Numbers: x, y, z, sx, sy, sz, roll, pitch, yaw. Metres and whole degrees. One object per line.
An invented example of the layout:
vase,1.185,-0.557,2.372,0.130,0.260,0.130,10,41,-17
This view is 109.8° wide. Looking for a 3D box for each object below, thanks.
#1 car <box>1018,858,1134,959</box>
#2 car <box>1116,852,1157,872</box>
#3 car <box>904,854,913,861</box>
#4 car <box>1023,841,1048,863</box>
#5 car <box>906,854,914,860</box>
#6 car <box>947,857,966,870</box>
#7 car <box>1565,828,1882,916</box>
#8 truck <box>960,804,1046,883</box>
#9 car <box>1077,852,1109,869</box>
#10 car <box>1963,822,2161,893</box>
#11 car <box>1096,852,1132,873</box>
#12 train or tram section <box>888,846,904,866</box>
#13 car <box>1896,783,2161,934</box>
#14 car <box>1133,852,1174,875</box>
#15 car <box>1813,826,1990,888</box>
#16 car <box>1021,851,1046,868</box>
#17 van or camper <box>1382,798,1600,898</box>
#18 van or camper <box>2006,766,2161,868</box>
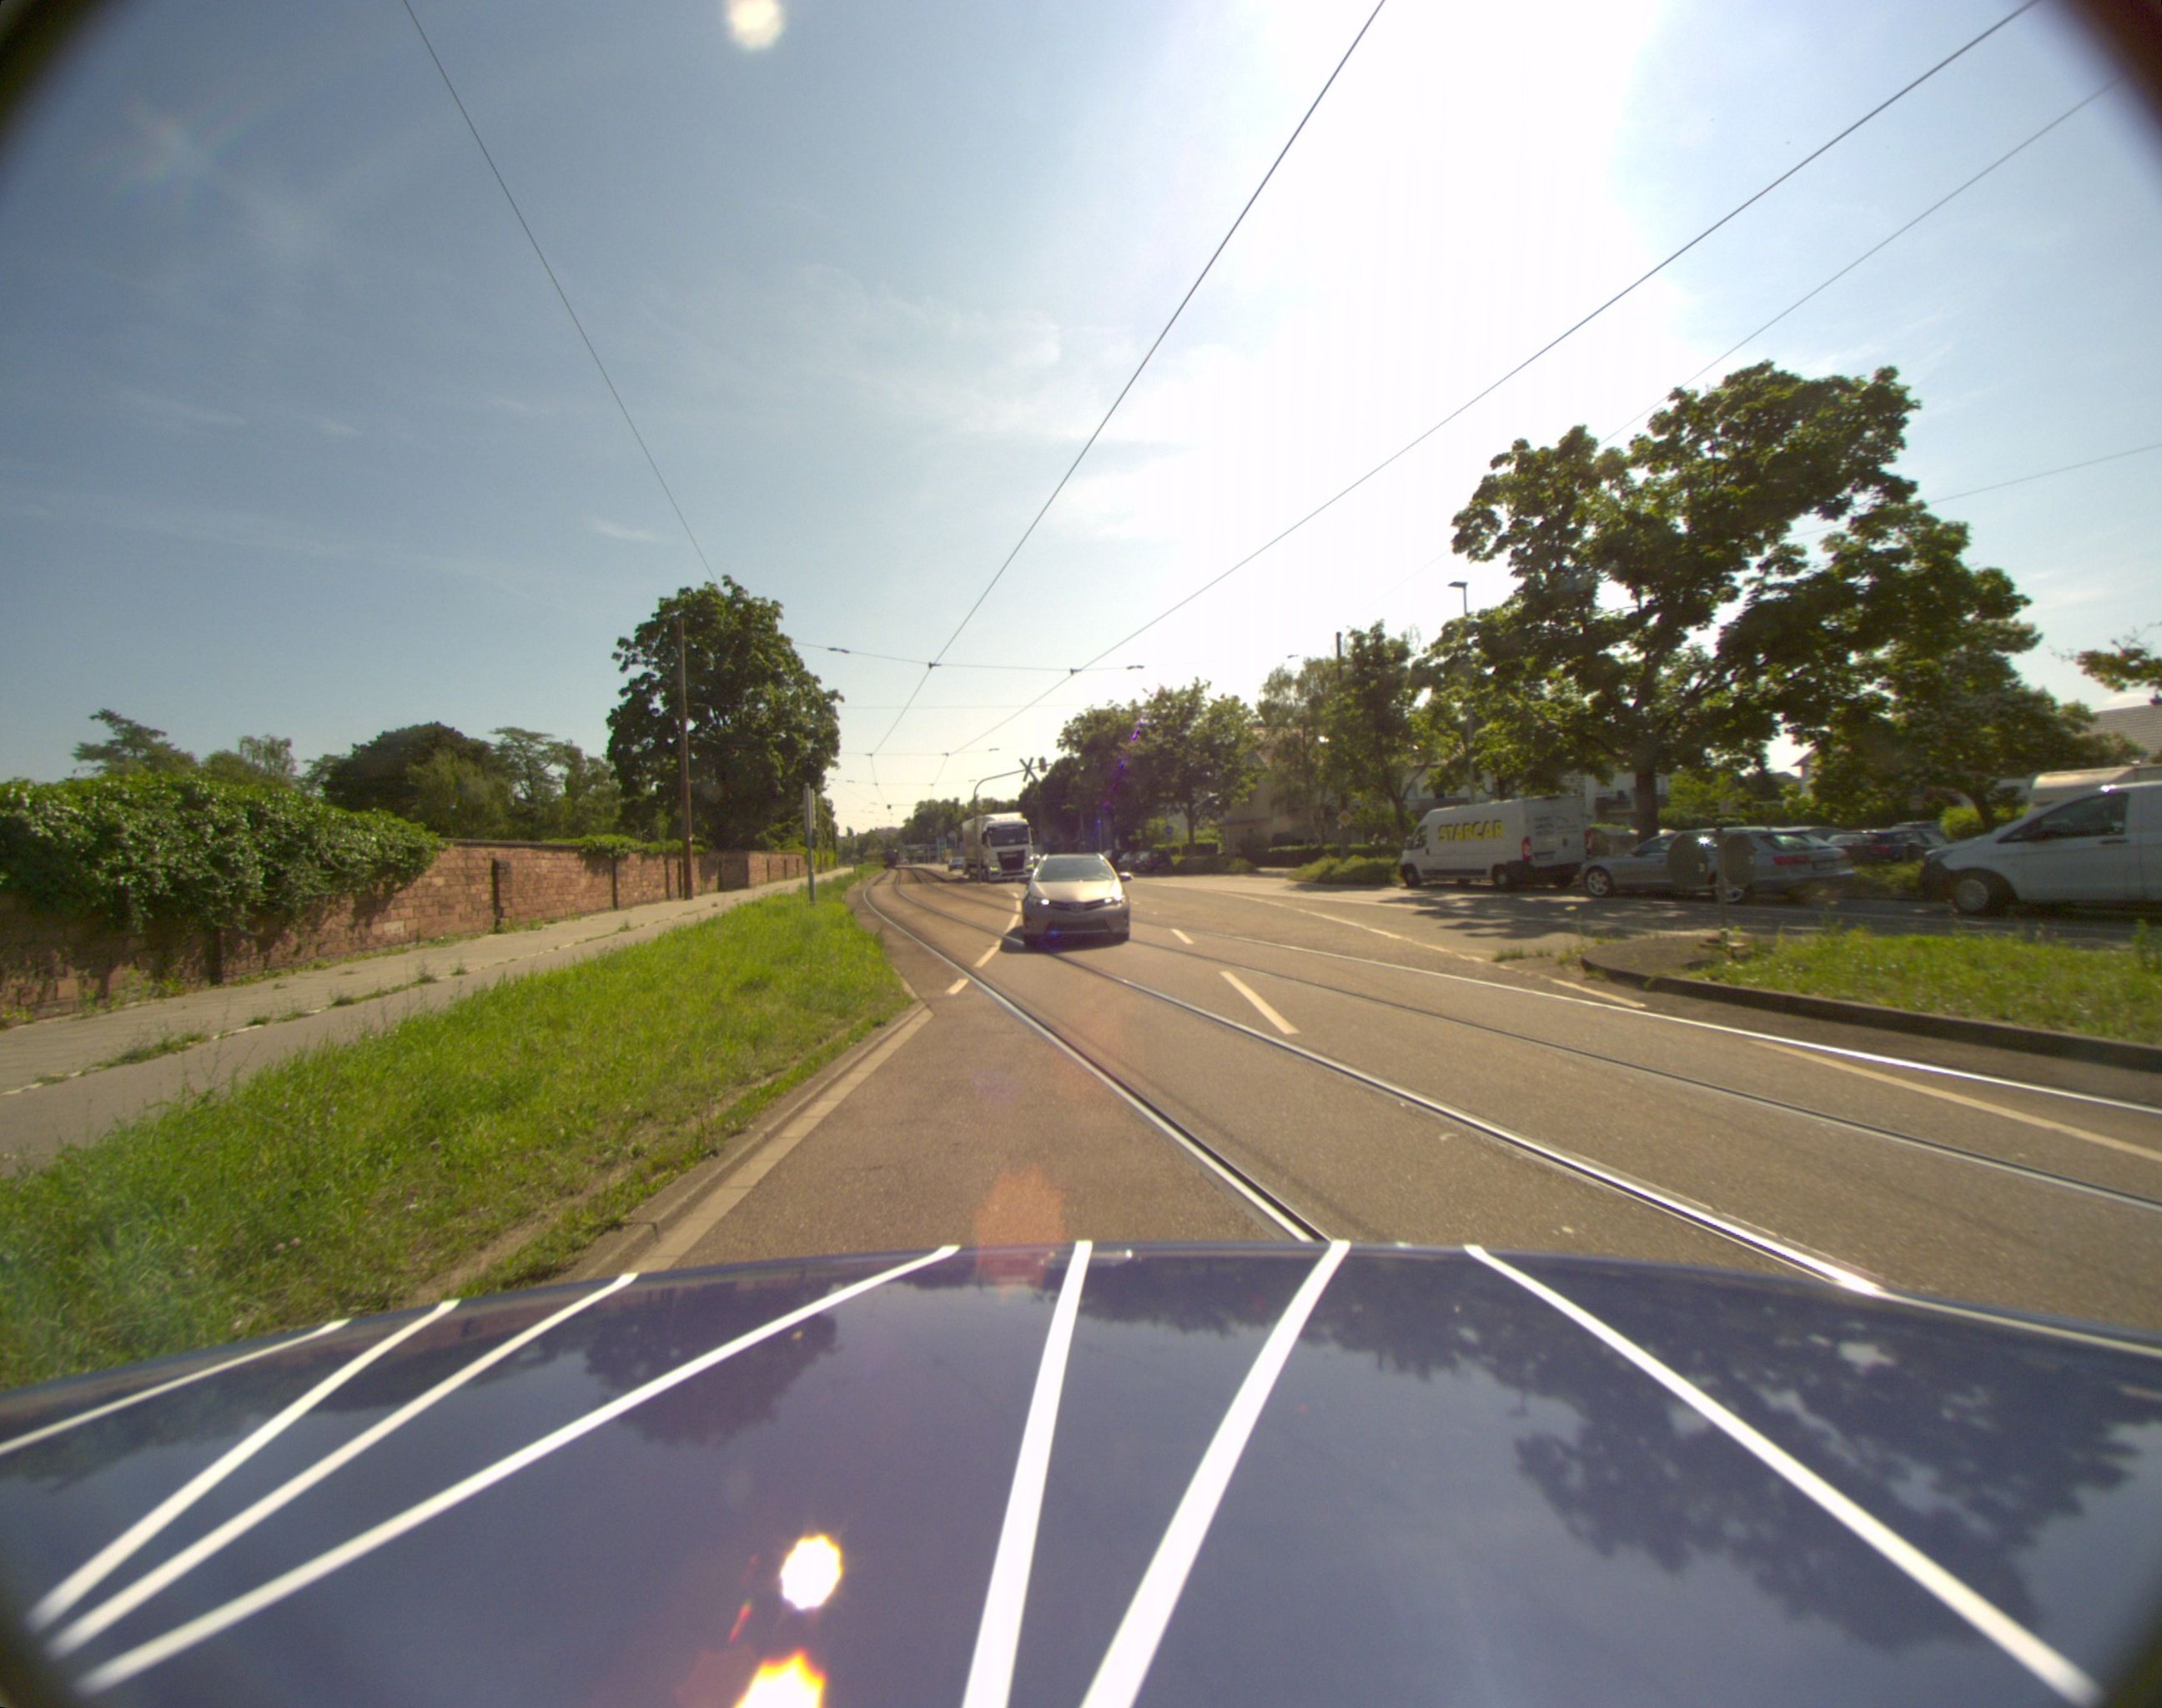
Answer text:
car,-0.172,0.846,13.665,1.720,1.439,4.029,-2,0,-3
car,4.022,0.579,55.926,1.703,1.387,4.576,-2,0,-13
car,-48.686,1.024,214.484,2.002,2.002,3.993,-2,1,-21
car,-5.906,-0.267,98.085,2.018,2.636,6.079,-6,1,-13
car,-48.240,0.911,214.478,1.849,1.587,3.994,-2,0,-17
car,-13.171,1.024,80.290,1.702,1.248,3.995,-2,0,-12
car,13.097,0.309,16.015,1.939,1.446,4.880,-4,1,-13
truck,-5.282,-0.593,47.940,3.394,4.046,14.269,-4,1,-13
car,1.066,0.552,67.929,1.681,1.427,4.452,-2,0,-15
car,23.905,0.058,18.402,4.001,1.535,1.661,-2,1,-13
car,2.657,0.655,61.384,1.681,1.603,4.236,-2,1,-15
train or tram section,-38.252,0.335,157.218,2.679,3.631,15.287,-4,1,-13
car,14.959,-0.002,10.087,2.204,1.930,5.177,-4,1,-17
car,4.839,0.616,51.145,1.621,1.442,4.078,-2,0,-12
car,22.970,0.066,21.296,4.002,1.535,1.661,-2,1,-14
car,-4.472,0.497,70.987,1.734,1.456,3.995,-1,0,-12
van or camper,11.780,-0.154,22.578,2.265,2.500,6.141,-2,0,-11
van or camper,36.222,-1.286,26.351,6.976,3.226,2.579,-2,1,-15
